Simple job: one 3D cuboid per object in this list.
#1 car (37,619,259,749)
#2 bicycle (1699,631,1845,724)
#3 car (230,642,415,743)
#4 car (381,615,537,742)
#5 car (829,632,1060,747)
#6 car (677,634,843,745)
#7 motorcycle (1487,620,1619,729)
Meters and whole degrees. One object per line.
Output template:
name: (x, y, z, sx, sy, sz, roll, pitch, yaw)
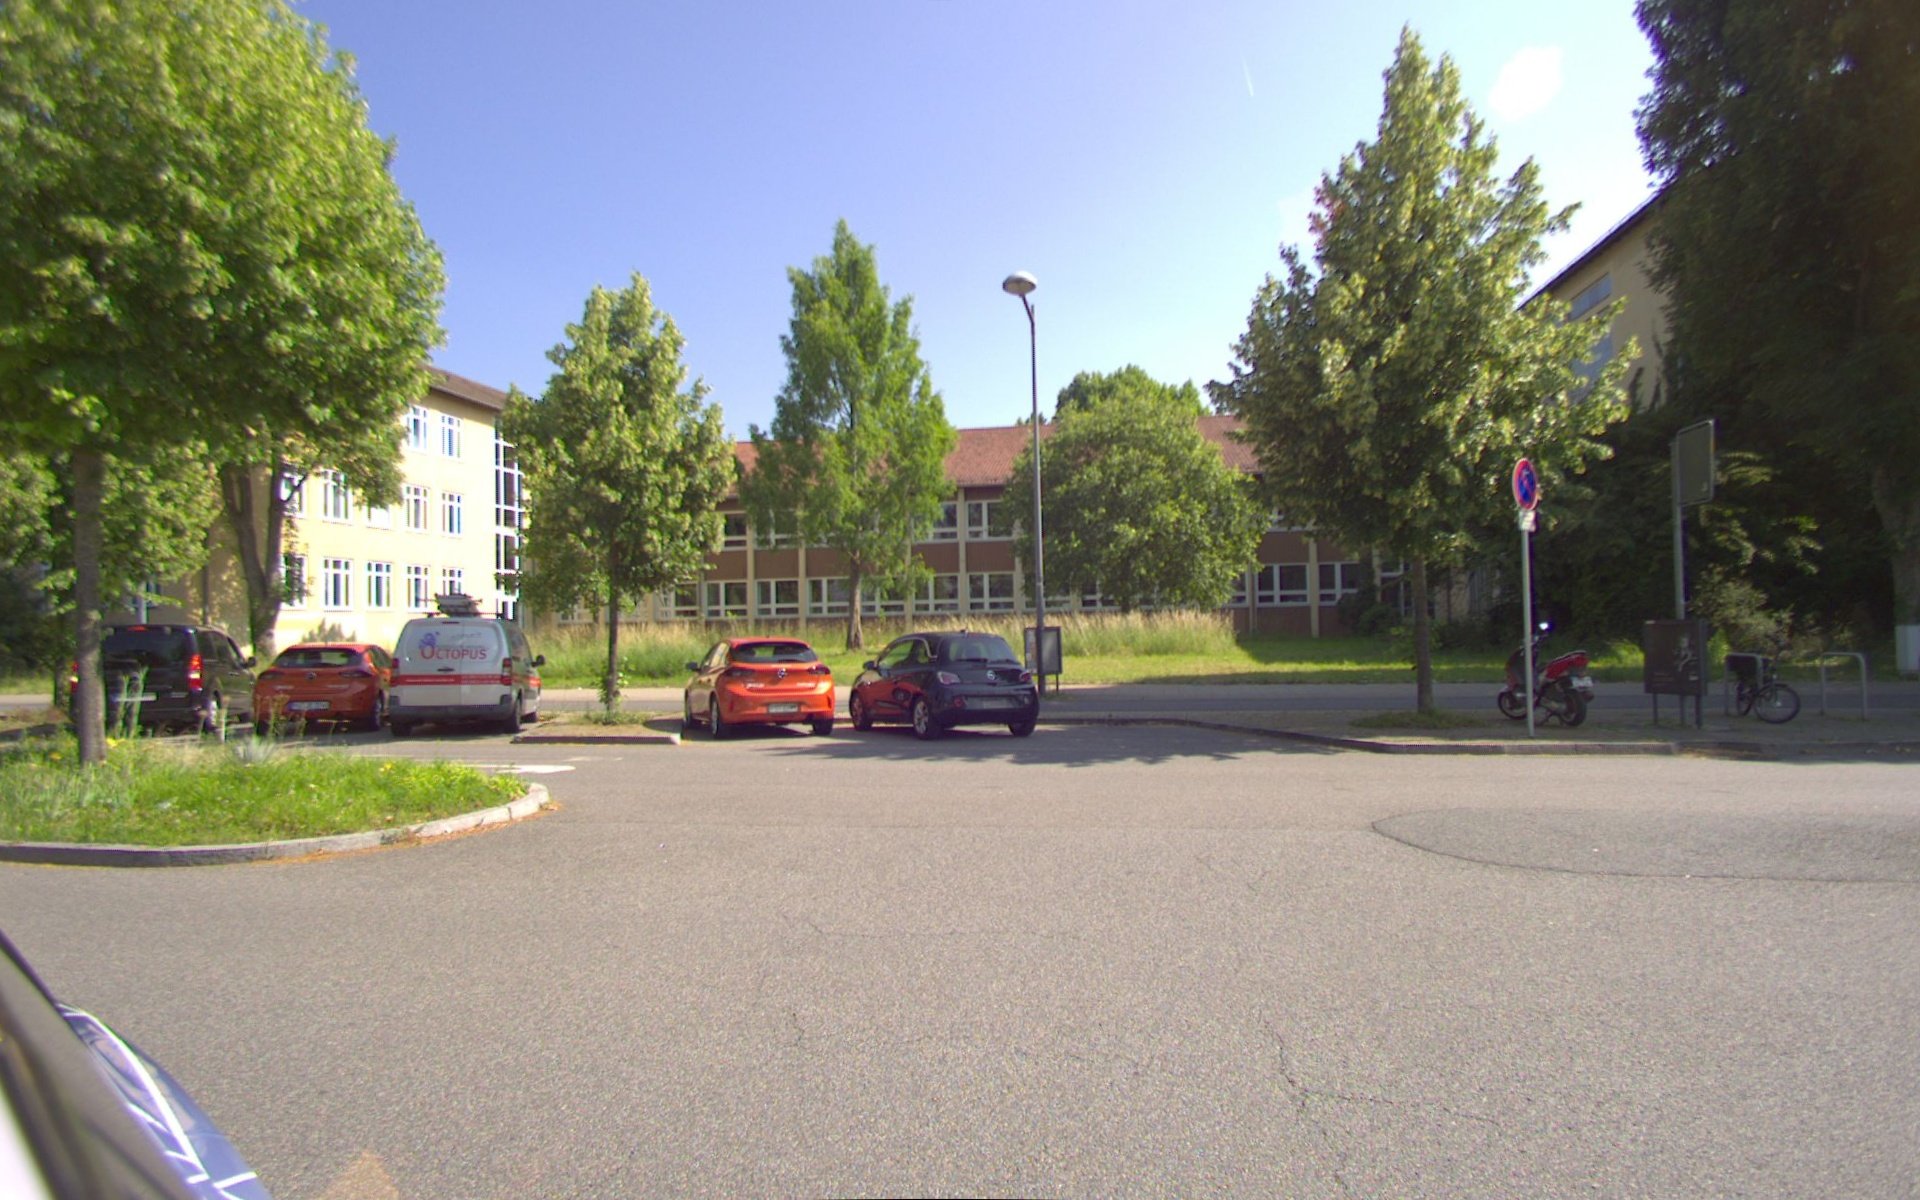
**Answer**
car: (-13.292, 1.326, 16.889, 1.969, 1.830, 4.202, -1, -3, -25)
bicycle: (10.439, 0.964, 13.099, 0.686, 1.100, 1.843, -2, -2, 13)
car: (-10.552, 1.481, 17.055, 1.824, 1.438, 3.786, -1, -3, -19)
car: (-7.998, 1.181, 16.476, 1.788, 1.785, 3.786, 0, -2, -19)
car: (-0.372, 1.227, 14.740, 1.824, 1.434, 3.786, 1, -3, -28)
car: (-3.167, 1.254, 15.417, 1.686, 1.434, 3.855, 0, -2, -23)
motorcycle: (7.546, 0.915, 12.986, 0.684, 1.294, 1.848, -1, -2, 5)
